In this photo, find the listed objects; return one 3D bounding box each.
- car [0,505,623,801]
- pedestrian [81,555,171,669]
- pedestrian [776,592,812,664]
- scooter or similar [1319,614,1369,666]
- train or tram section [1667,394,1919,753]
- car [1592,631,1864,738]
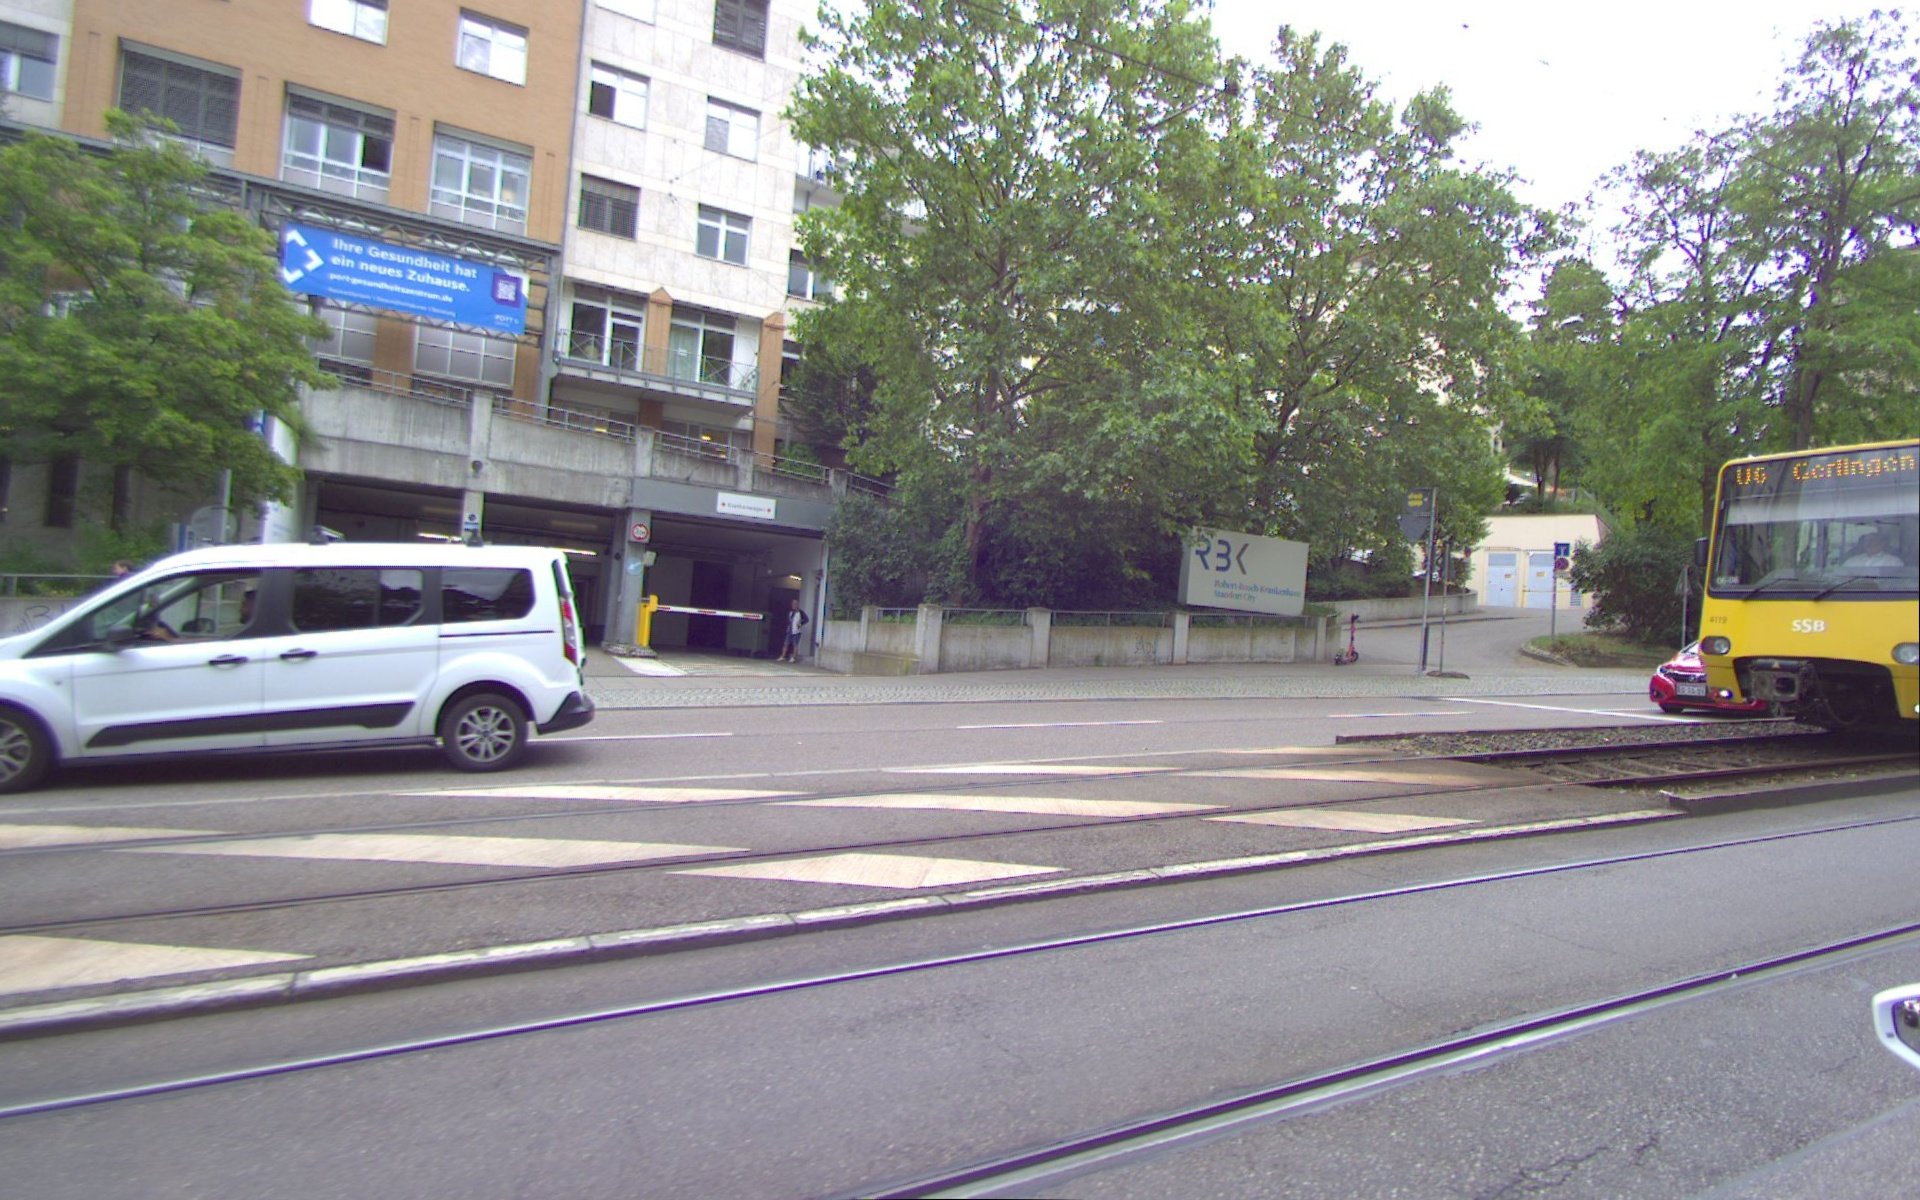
[{"bbox_3d":[-5.455,0.368,8.211,4.935,1.972,1.941,1,0,-25],"label":"car"},{"bbox_3d":[-11.928,0.177,14.381,0.644,1.581,0.730,1,0,5],"label":"pedestrian"},{"bbox_3d":[-4.590,0.760,27.704,0.782,1.937,0.810,1,0,-24],"label":"pedestrian"},{"bbox_3d":[9.677,1.001,25.302,0.484,1.235,1.631,4,2,45],"label":"scooter or similar"},{"bbox_3d":[16.262,-0.136,14.727,14.660,3.776,2.872,2,1,-26],"label":"train or tram section"},{"bbox_3d":[12.759,1.341,16.706,3.945,1.523,1.988,2,0,-25],"label":"car"}]
